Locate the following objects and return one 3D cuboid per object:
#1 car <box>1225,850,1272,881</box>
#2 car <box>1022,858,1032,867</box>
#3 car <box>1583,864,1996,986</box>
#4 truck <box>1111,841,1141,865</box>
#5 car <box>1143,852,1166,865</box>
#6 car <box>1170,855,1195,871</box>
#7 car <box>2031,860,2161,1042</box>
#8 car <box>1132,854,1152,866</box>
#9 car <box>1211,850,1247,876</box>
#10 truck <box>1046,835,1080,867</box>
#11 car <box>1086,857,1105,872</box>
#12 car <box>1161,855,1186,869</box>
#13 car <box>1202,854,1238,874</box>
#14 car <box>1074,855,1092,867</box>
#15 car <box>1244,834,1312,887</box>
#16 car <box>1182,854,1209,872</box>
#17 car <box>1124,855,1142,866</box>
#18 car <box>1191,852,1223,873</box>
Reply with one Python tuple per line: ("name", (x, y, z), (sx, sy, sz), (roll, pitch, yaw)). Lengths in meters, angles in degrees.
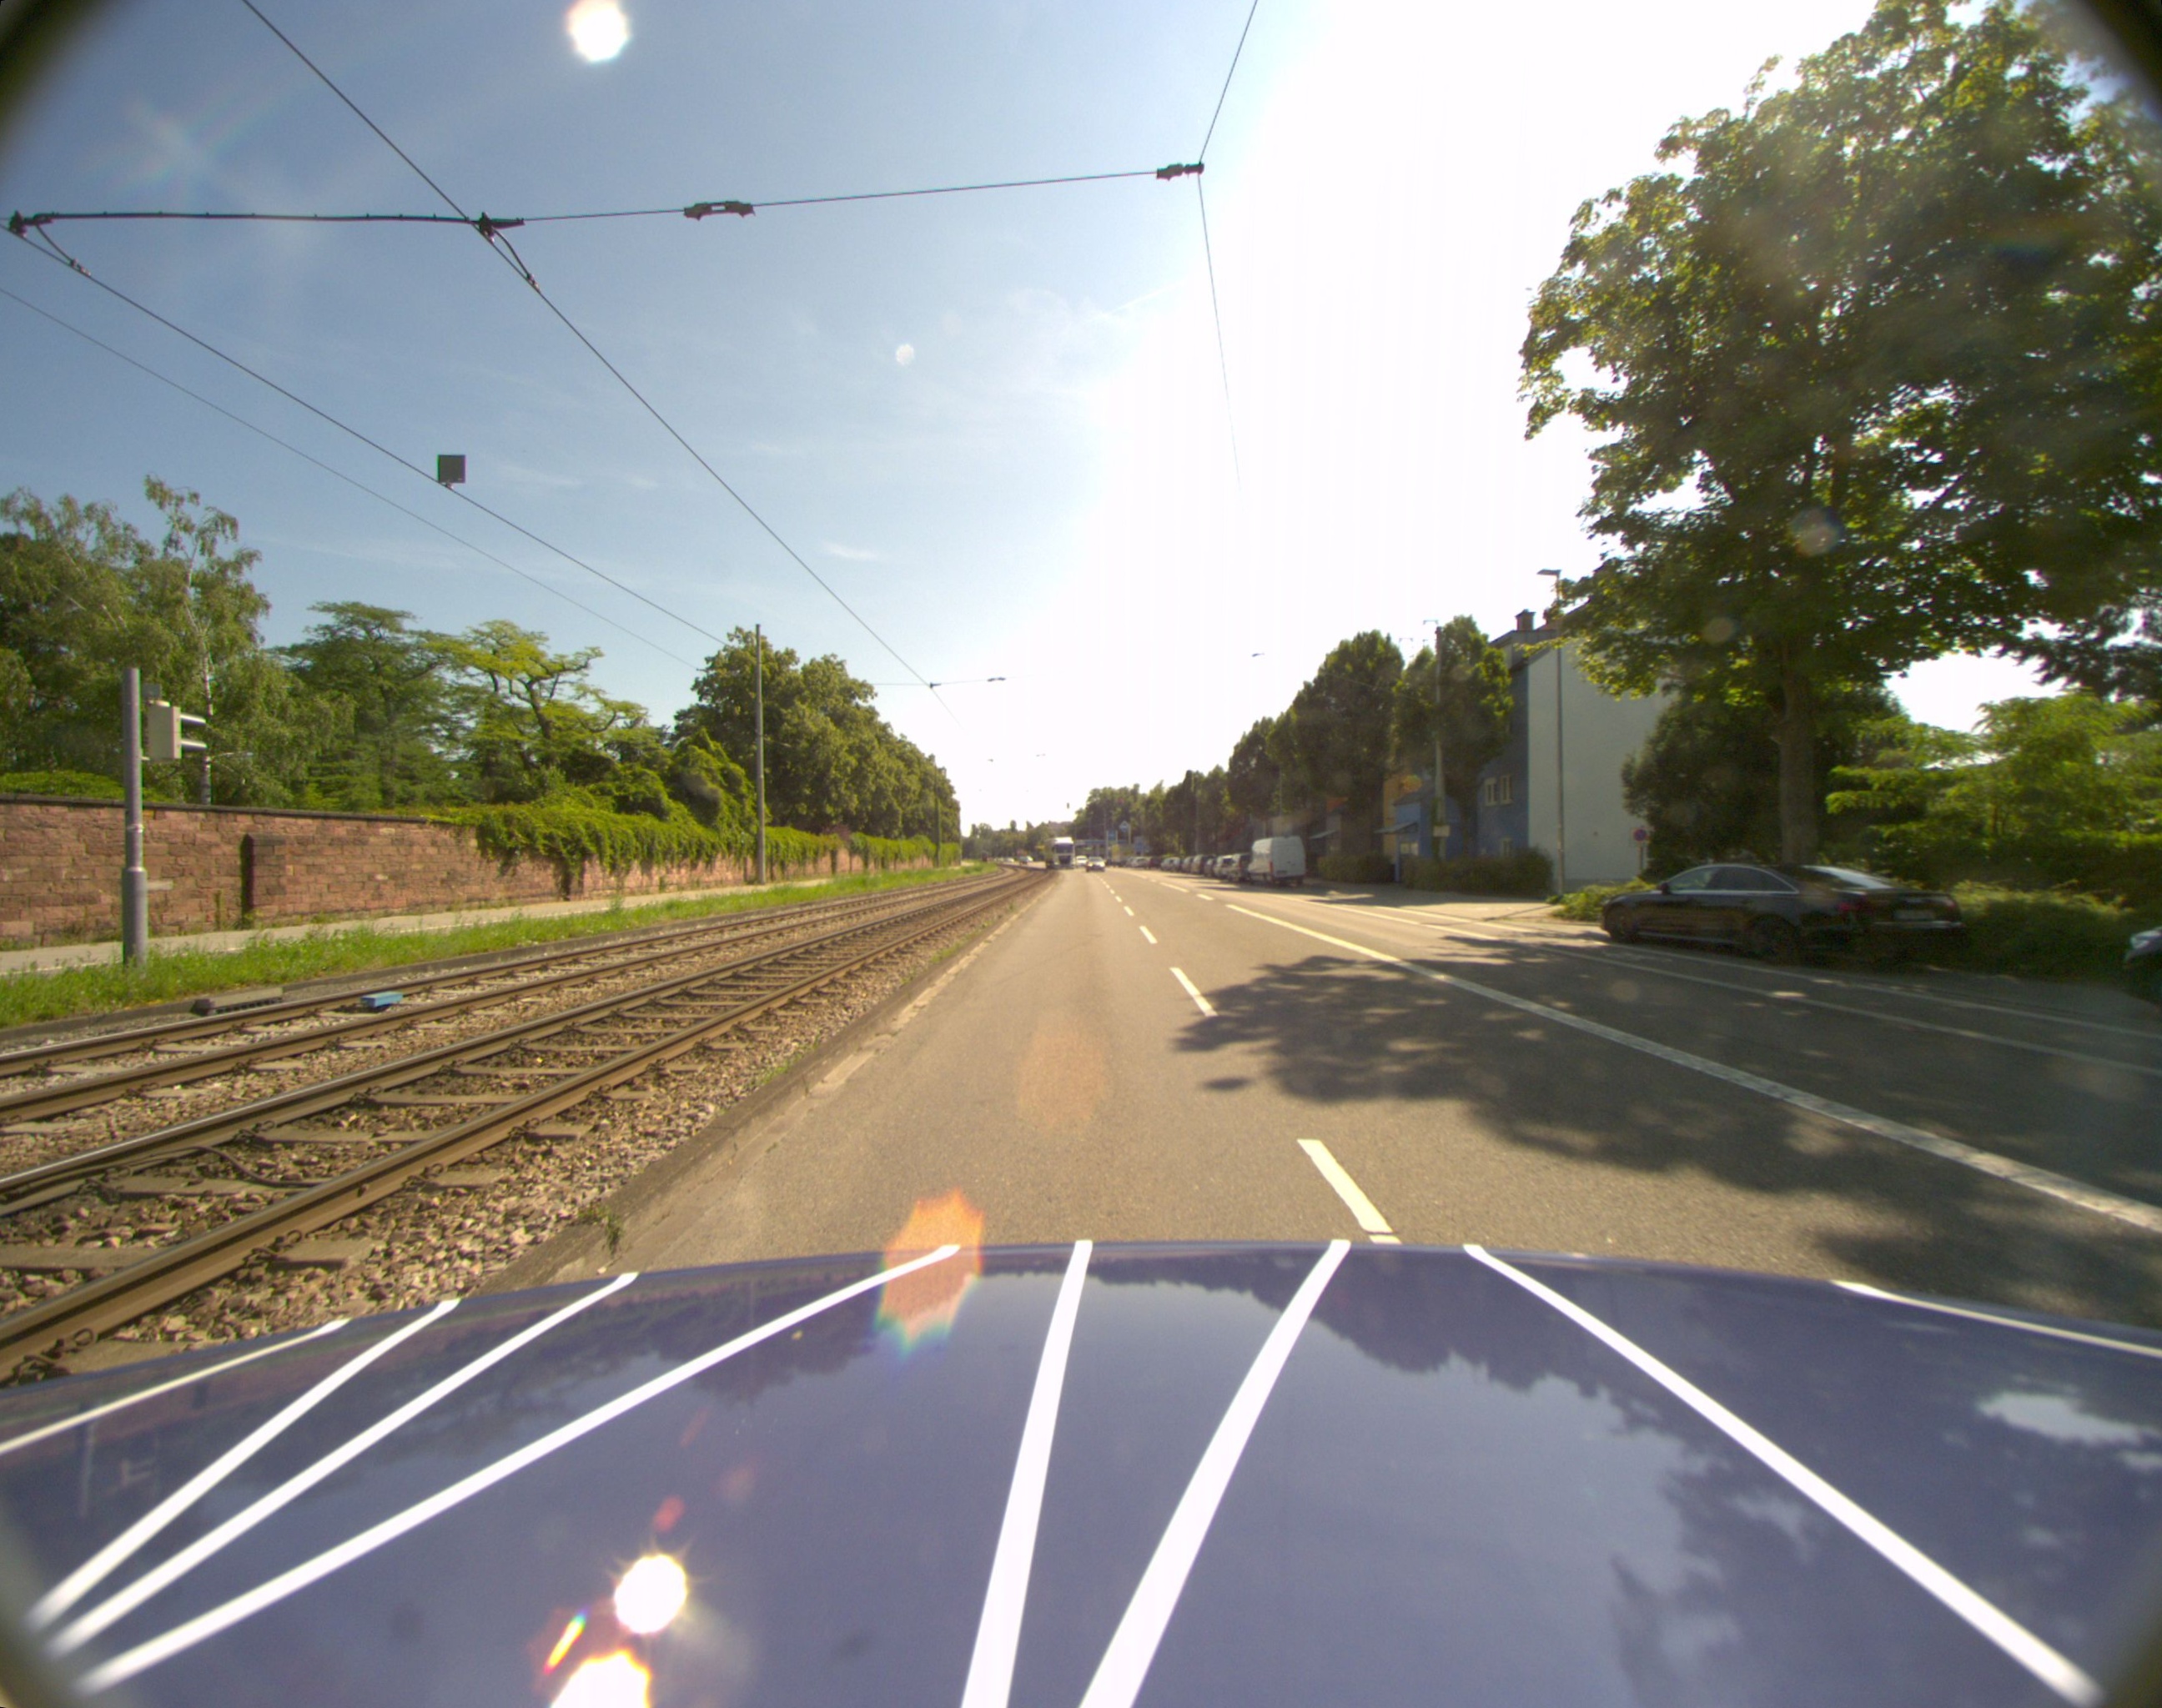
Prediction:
("car", (11.172, 0.723, 51.149), (1.998, 1.855, 4.966), (-4, 0, 1))
("car", (-11.139, 1.656, 157.196), (1.855, 1.707, 3.997), (-2, 1, -7))
("car", (10.581, 0.928, 12.050), (1.845, 1.457, 4.909), (0, 0, -3))
("truck", (6.878, -0.115, 116.722), (3.165, 3.533, 8.780), (0, 0, -6))
("car", (9.358, 0.579, 96.733), (1.911, 1.567, 4.929), (-2, 0, -6))
("car", (10.460, 0.895, 78.524), (1.681, 1.462, 4.212), (-2, 0, -3))
("car", (10.556, 0.875, 5.301), (1.766, 1.596, 4.893), (-1, 0, 0))
("car", (8.386, 0.799, 104.528), (2.040, 1.490, 4.130), (-2, 0, -6))
("car", (11.057, 0.653, 56.995), (1.852, 1.693, 4.540), (-4, 1, 1))
("truck", (-2.436, -0.388, 97.629), (2.807, 3.926, 11.933), (0, 0, -9))
("car", (1.449, 1.013, 74.796), (1.747, 1.421, 5.041), (-1, 0, 1))
("car", (10.334, 0.828, 85.351), (1.682, 1.437, 4.835), (-2, 0, -6))
("car", (11.295, 0.781, 61.935), (1.871, 1.447, 4.074), (-4, 1, -3))
("car", (0.215, 0.920, 102.494), (1.786, 1.538, 4.391), (-2, 0, -7))
("car", (11.032, 0.350, 43.162), (1.998, 2.661, 7.086), (-4, 0, 2))
("car", (10.901, 0.813, 72.319), (1.681, 1.598, 4.164), (-2, 0, -3))
("car", (7.464, 0.894, 109.010), (1.915, 1.469, 4.213), (-2, 0, -6))
("car", (11.137, 0.689, 67.234), (1.834, 1.718, 4.348), (-3, 1, -3))
